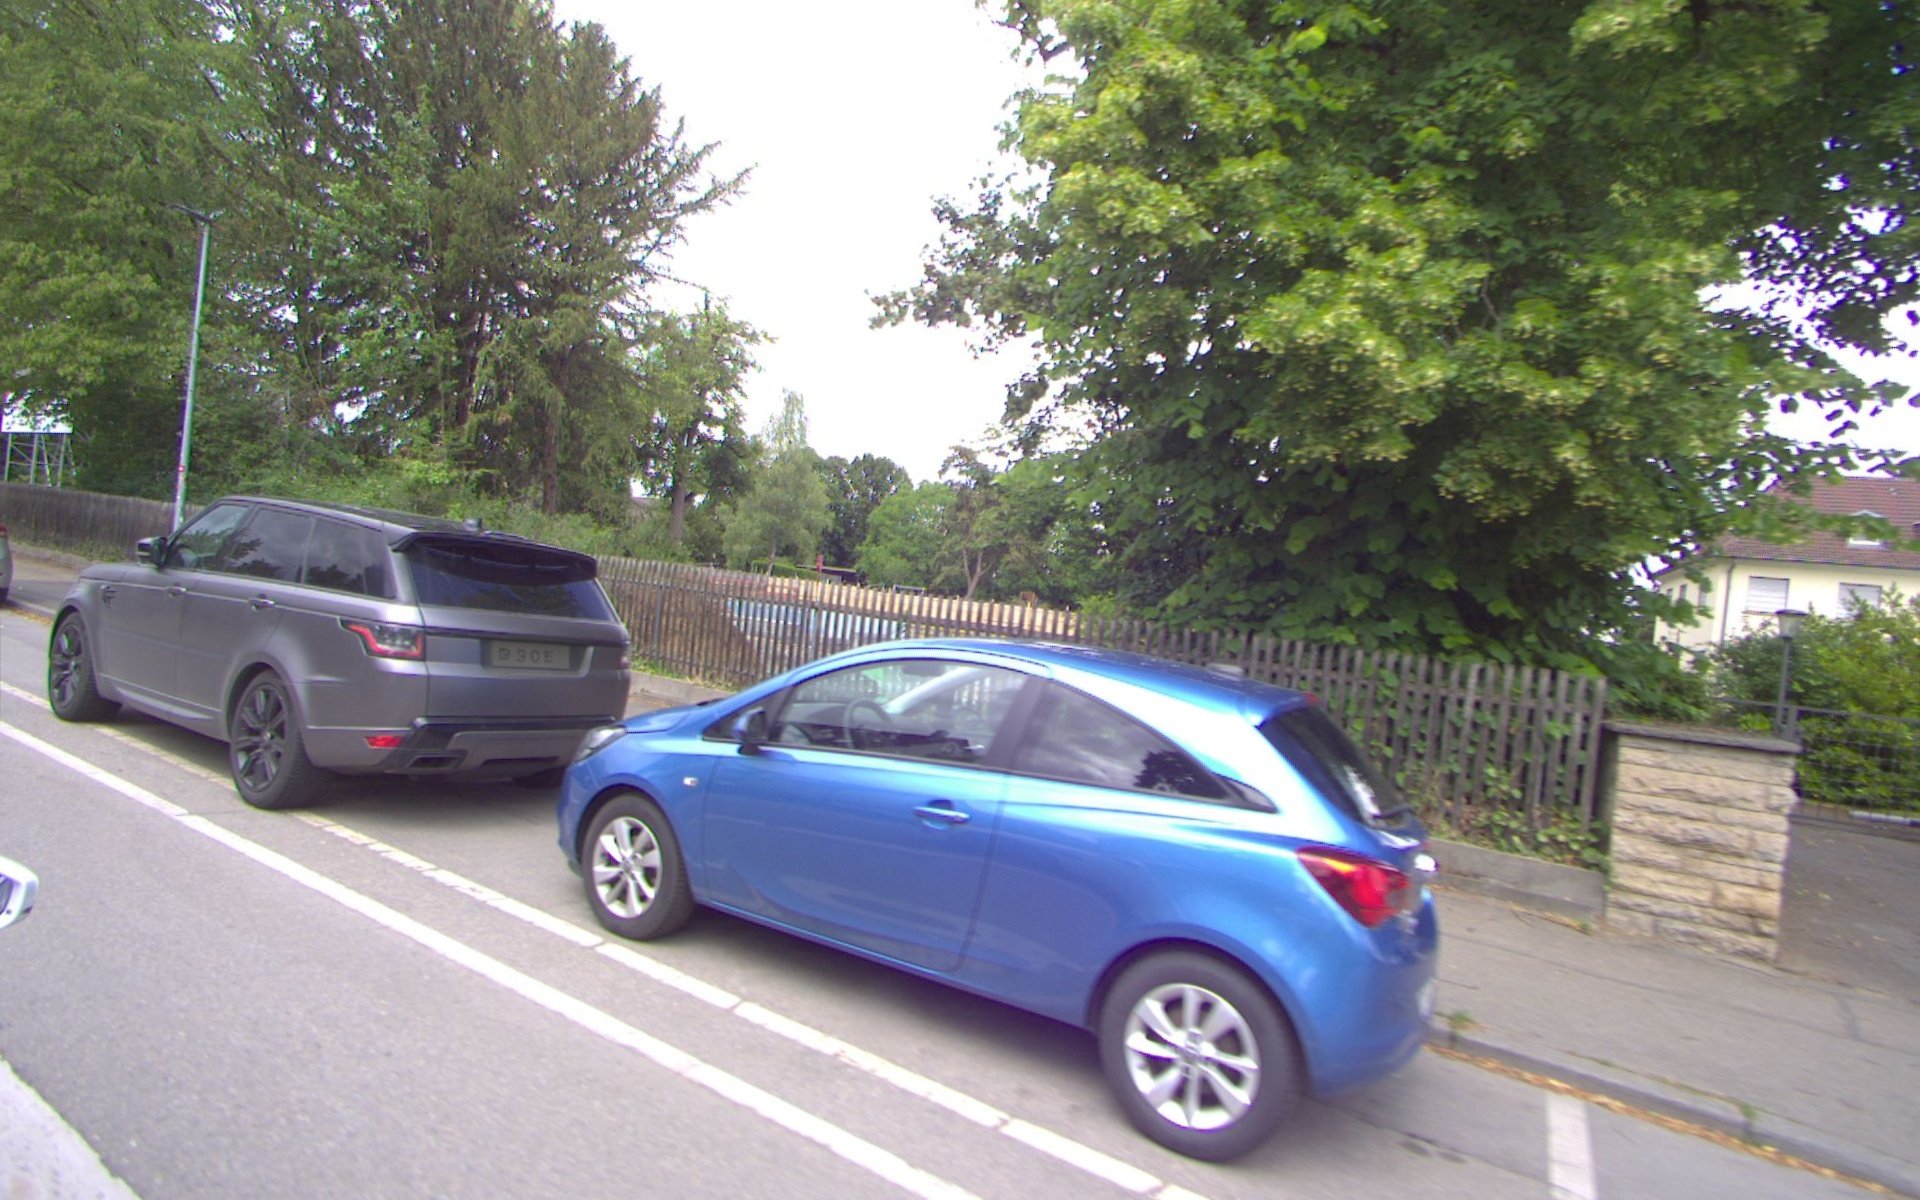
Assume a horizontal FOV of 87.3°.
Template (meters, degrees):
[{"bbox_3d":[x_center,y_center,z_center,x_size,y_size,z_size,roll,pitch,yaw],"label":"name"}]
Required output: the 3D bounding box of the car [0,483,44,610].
[{"bbox_3d":[-14.544,-0.963,13.585,4.346,1.609,1.866,7,0,30],"label":"car"}]

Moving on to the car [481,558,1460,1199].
[{"bbox_3d":[-0.058,0.813,4.434,3.855,1.519,1.688,6,-1,30],"label":"car"}]

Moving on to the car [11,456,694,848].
[{"bbox_3d":[-4.356,0.161,6.987,4.747,1.837,1.997,6,-1,32],"label":"car"}]
